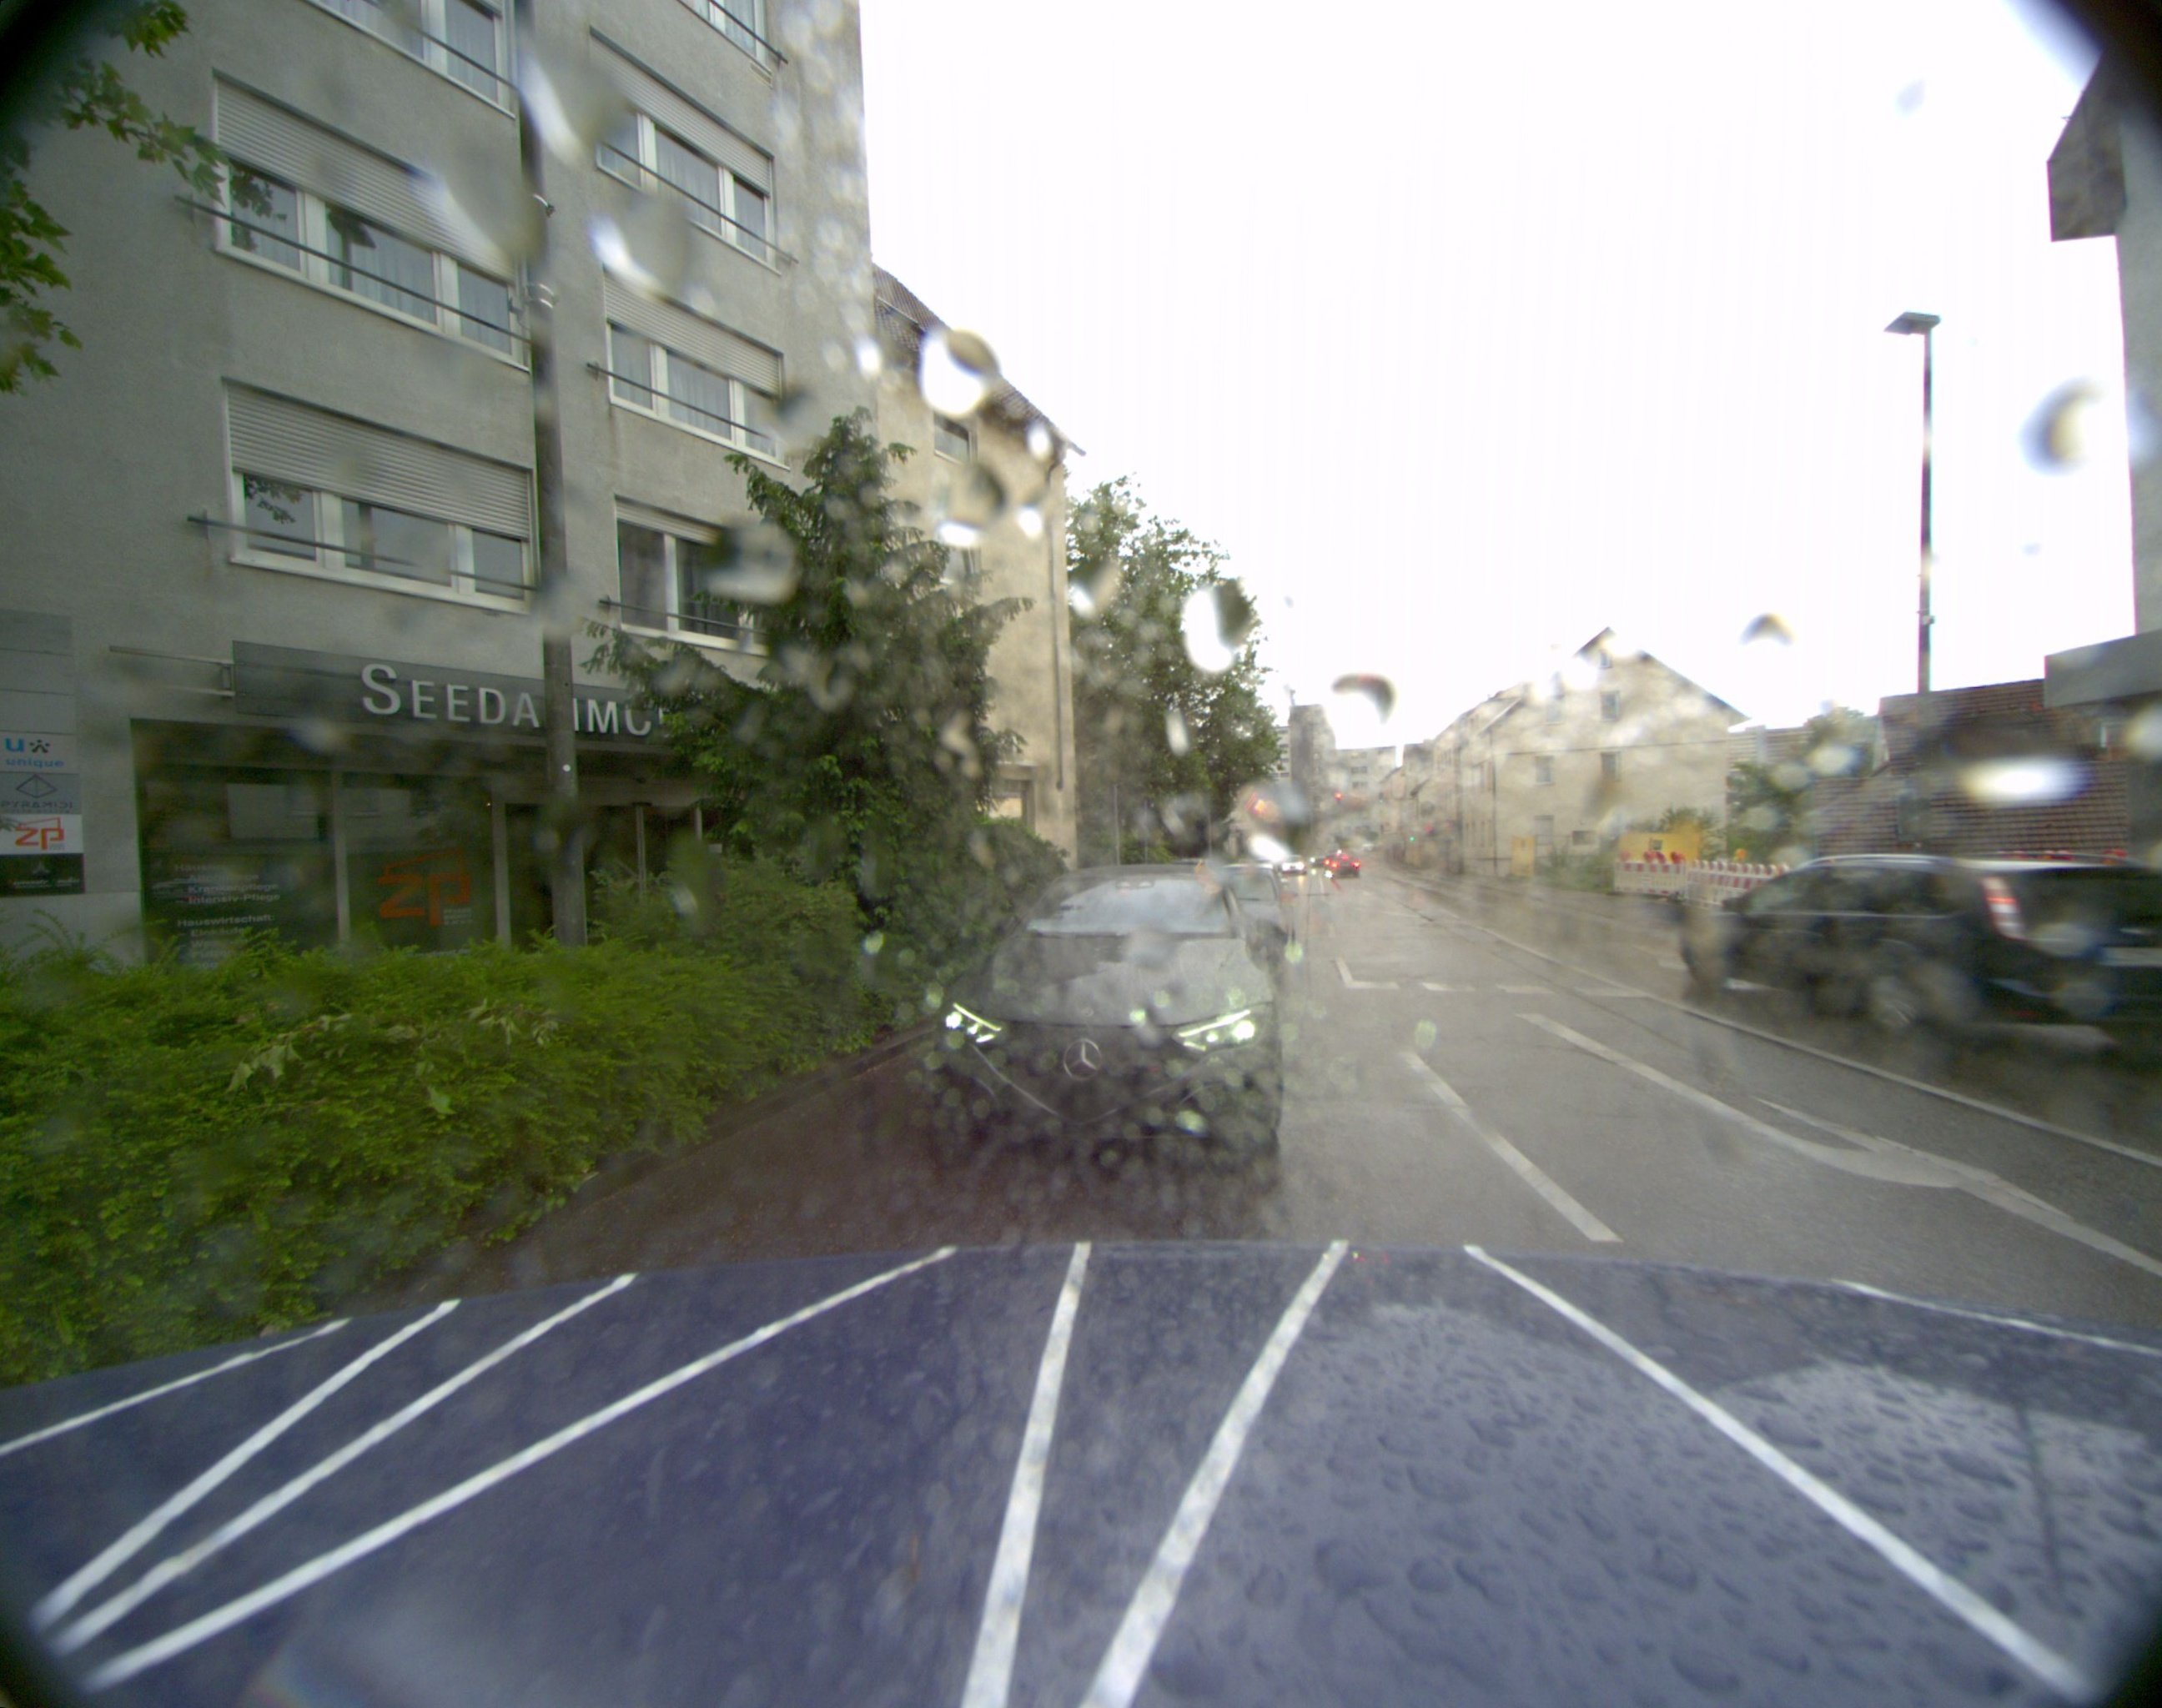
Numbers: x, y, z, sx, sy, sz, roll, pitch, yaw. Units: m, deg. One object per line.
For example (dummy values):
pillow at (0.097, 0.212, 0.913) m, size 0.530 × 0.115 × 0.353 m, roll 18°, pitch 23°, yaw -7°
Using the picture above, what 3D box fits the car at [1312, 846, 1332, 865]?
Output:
car at (24.412, 0.127, 76.999) m, size 1.791 × 1.841 × 3.840 m, roll -2°, pitch 0°, yaw 18°

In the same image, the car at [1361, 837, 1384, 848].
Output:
car at (45.633, -1.779, 118.889) m, size 3.843 × 1.555 × 1.736 m, roll -2°, pitch 0°, yaw -41°

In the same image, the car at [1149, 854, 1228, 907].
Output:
car at (4.045, 0.897, 27.808) m, size 1.933 × 1.770 × 4.740 m, roll -1°, pitch 0°, yaw 20°

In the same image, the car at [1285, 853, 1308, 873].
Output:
car at (16.985, 0.681, 59.841) m, size 1.613 × 1.495 × 3.722 m, roll -3°, pitch -1°, yaw 17°

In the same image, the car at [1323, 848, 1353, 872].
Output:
car at (18.853, 0.444, 55.924) m, size 1.818 × 1.635 × 4.281 m, roll -2°, pitch -1°, yaw 16°

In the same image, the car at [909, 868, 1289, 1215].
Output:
car at (0.472, 0.951, 5.809) m, size 1.819 × 1.562 × 4.280 m, roll -3°, pitch -1°, yaw 11°

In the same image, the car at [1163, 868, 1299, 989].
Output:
car at (2.421, 0.973, 11.520) m, size 1.639 × 1.424 × 3.810 m, roll -1°, pitch 0°, yaw 17°

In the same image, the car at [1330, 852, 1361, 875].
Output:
car at (17.226, 0.622, 49.650) m, size 1.709 × 1.375 × 3.674 m, roll -2°, pitch 0°, yaw 16°

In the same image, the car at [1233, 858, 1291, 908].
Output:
car at (6.180, 0.929, 25.636) m, size 1.684 × 1.452 × 4.005 m, roll -2°, pitch 0°, yaw 16°

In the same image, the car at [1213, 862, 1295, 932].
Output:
car at (4.242, 0.970, 18.406) m, size 1.685 × 1.413 × 4.004 m, roll -2°, pitch 0°, yaw 14°

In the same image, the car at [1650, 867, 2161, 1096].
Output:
car at (7.626, 0.897, 7.225) m, size 1.735 × 1.501 × 4.276 m, roll -1°, pitch 0°, yaw 9°

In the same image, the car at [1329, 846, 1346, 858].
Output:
car at (33.911, -0.296, 100.374) m, size 1.790 × 1.555 × 3.842 m, roll -2°, pitch 0°, yaw 24°
